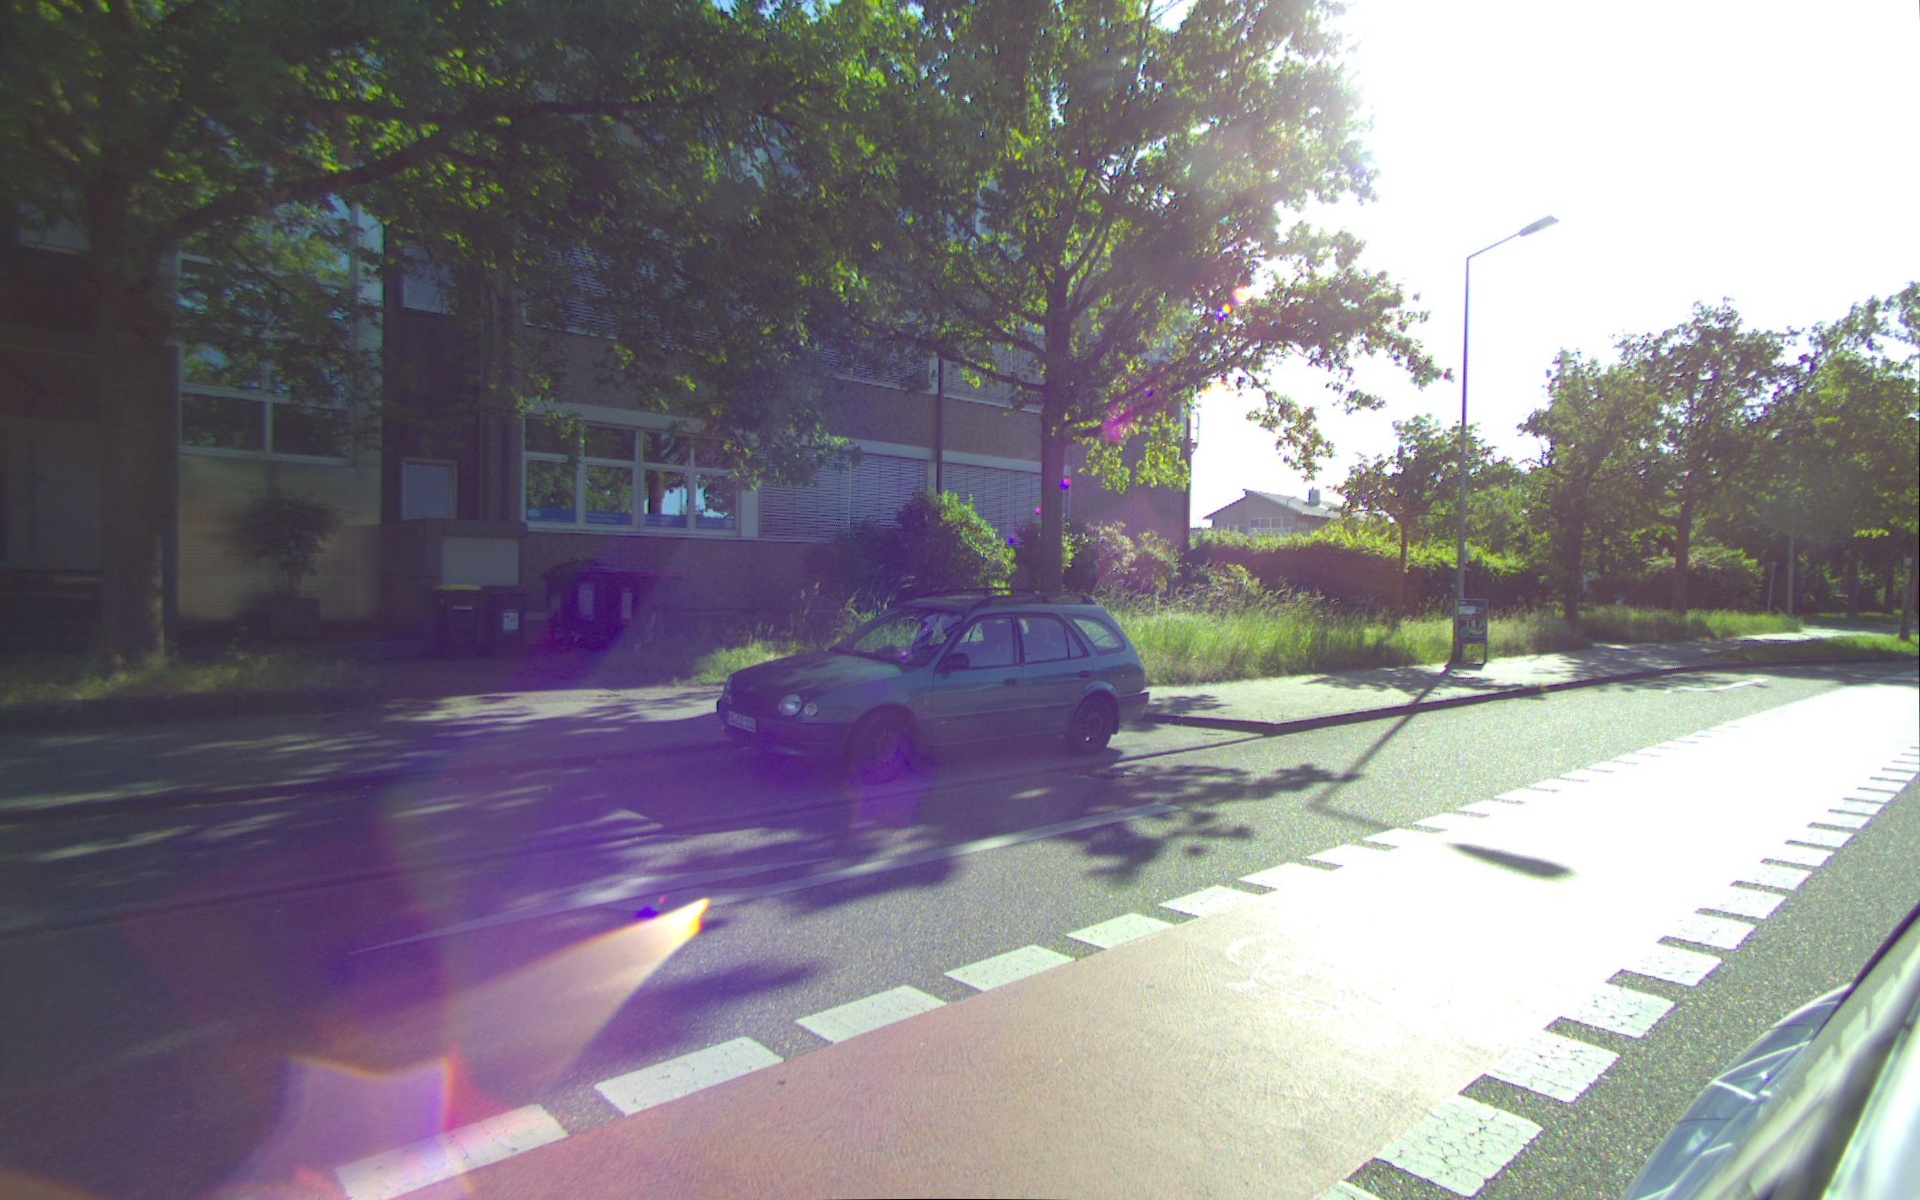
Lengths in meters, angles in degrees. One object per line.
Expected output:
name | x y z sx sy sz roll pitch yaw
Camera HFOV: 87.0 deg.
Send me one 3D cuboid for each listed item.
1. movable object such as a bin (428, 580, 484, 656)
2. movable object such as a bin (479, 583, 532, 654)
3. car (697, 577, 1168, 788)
movable object such as a bin | -7.237 0.240 14.527 0.571 1.045 0.713 0 1 -41
movable object such as a bin | -6.744 0.263 15.015 0.566 1.020 0.629 -1 1 -41
car | -0.086 0.548 9.099 4.129 1.446 1.596 -1 3 -40
